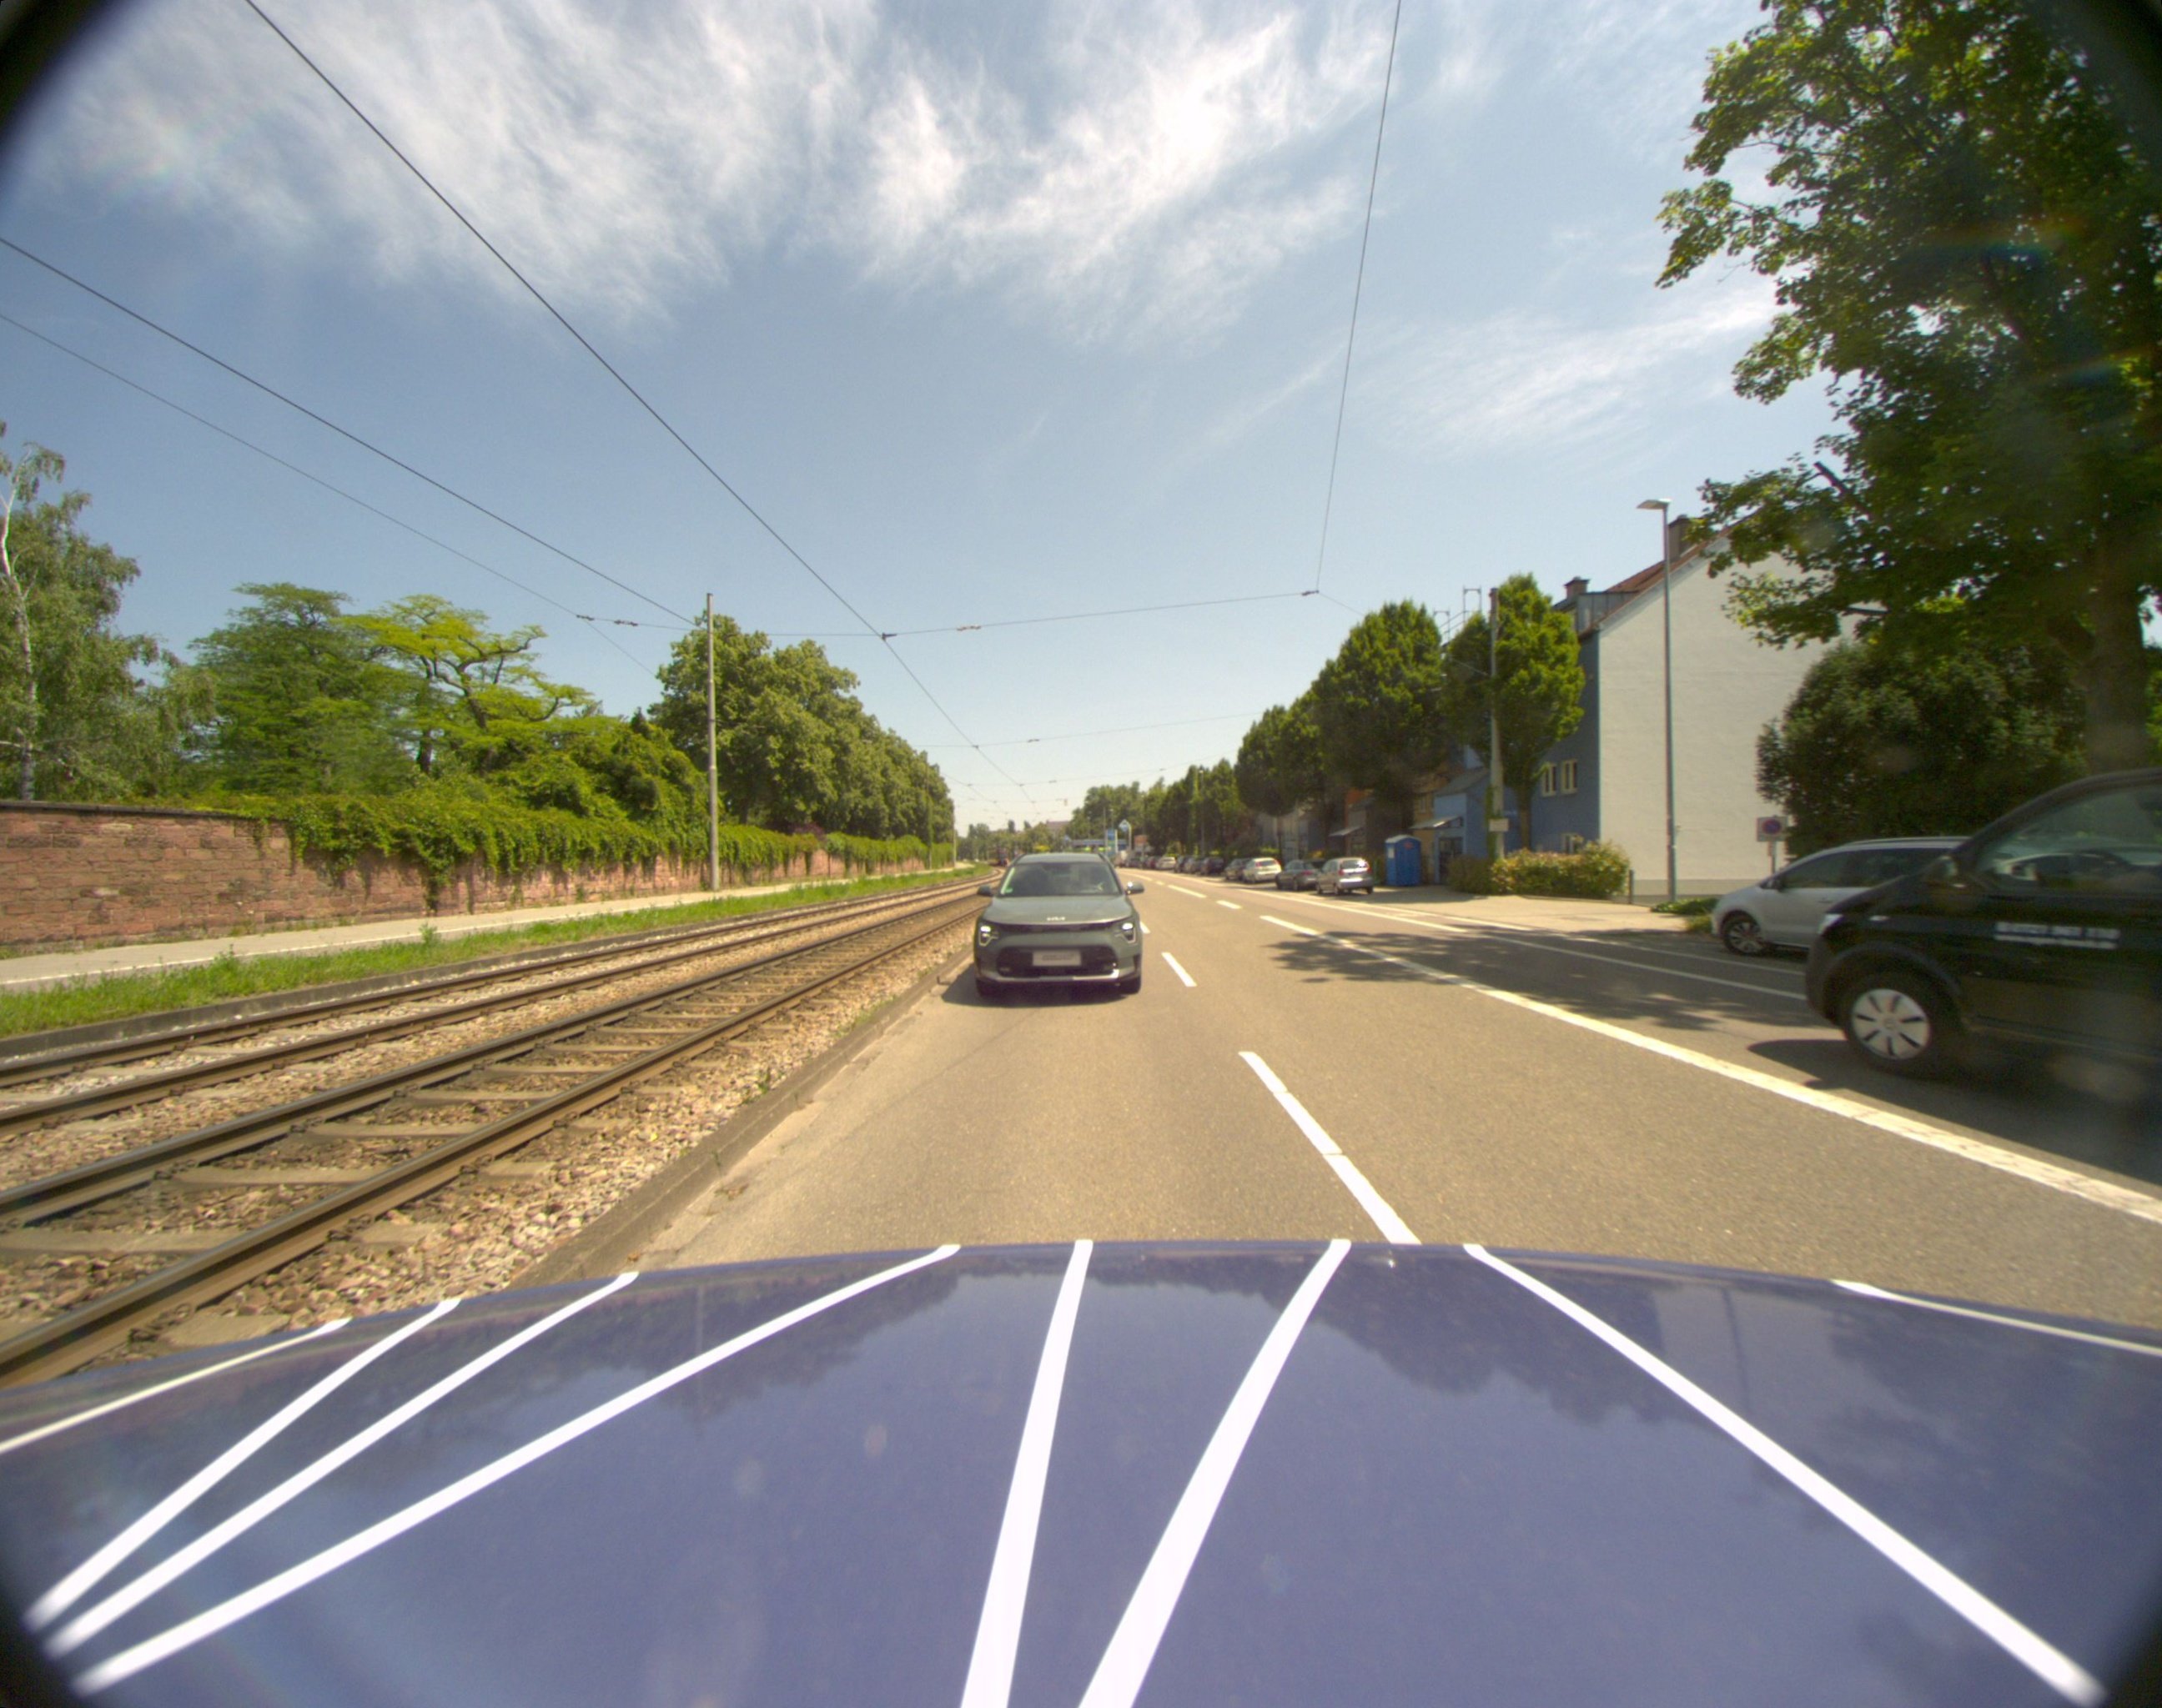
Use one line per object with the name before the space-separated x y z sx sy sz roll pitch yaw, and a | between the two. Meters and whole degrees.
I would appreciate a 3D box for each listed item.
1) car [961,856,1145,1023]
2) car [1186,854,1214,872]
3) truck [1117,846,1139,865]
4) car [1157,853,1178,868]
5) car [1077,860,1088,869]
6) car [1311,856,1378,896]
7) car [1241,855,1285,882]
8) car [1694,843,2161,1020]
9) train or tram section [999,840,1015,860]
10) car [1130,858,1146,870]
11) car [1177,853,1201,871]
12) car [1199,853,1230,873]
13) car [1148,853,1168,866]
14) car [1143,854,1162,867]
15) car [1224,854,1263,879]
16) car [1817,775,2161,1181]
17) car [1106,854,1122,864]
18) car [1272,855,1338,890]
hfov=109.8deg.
car | -0.267 0.840 9.632 1.759 1.574 4.427 -2 0 0
car | 10.659 0.799 68.321 1.656 1.487 4.082 -4 0 -1
truck | 6.856 0.238 111.622 2.135 2.565 4.860 -4 0 -9
car | 9.763 0.727 85.759 1.723 1.487 4.082 -4 0 -1
car | 0.290 2.085 150.195 1.865 1.487 3.470 -4 0 -1
car | 10.906 0.877 31.702 1.505 1.487 3.281 -5 0 -1
car | 11.146 0.847 46.738 1.656 1.487 3.649 -4 0 -1
car | 10.666 0.740 9.701 1.975 1.679 4.688 -2 0 2
train or tram section | -15.358 -0.879 159.044 2.814 3.785 14.255 -2 1 -4
car | 7.879 1.353 105.606 1.865 1.487 3.470 -4 0 -1
car | 10.525 0.781 74.339 1.656 1.578 4.082 -4 0 -1
car | 11.115 0.726 63.527 1.656 1.487 4.082 -4 0 -1
car | 9.259 0.637 91.626 1.865 1.487 3.470 -4 0 -1
car | 9.046 0.864 96.518 1.865 1.487 3.470 -4 0 -1
car | 11.103 0.815 52.137 1.656 1.487 4.082 -4 0 -1
car | 6.025 0.592 2.927 1.923 1.899 4.571 1 0 0
car | 5.292 0.879 123.311 1.866 1.487 3.468 -4 0 -9
car | 10.756 0.853 36.868 1.680 1.487 4.638 -4 0 -1
